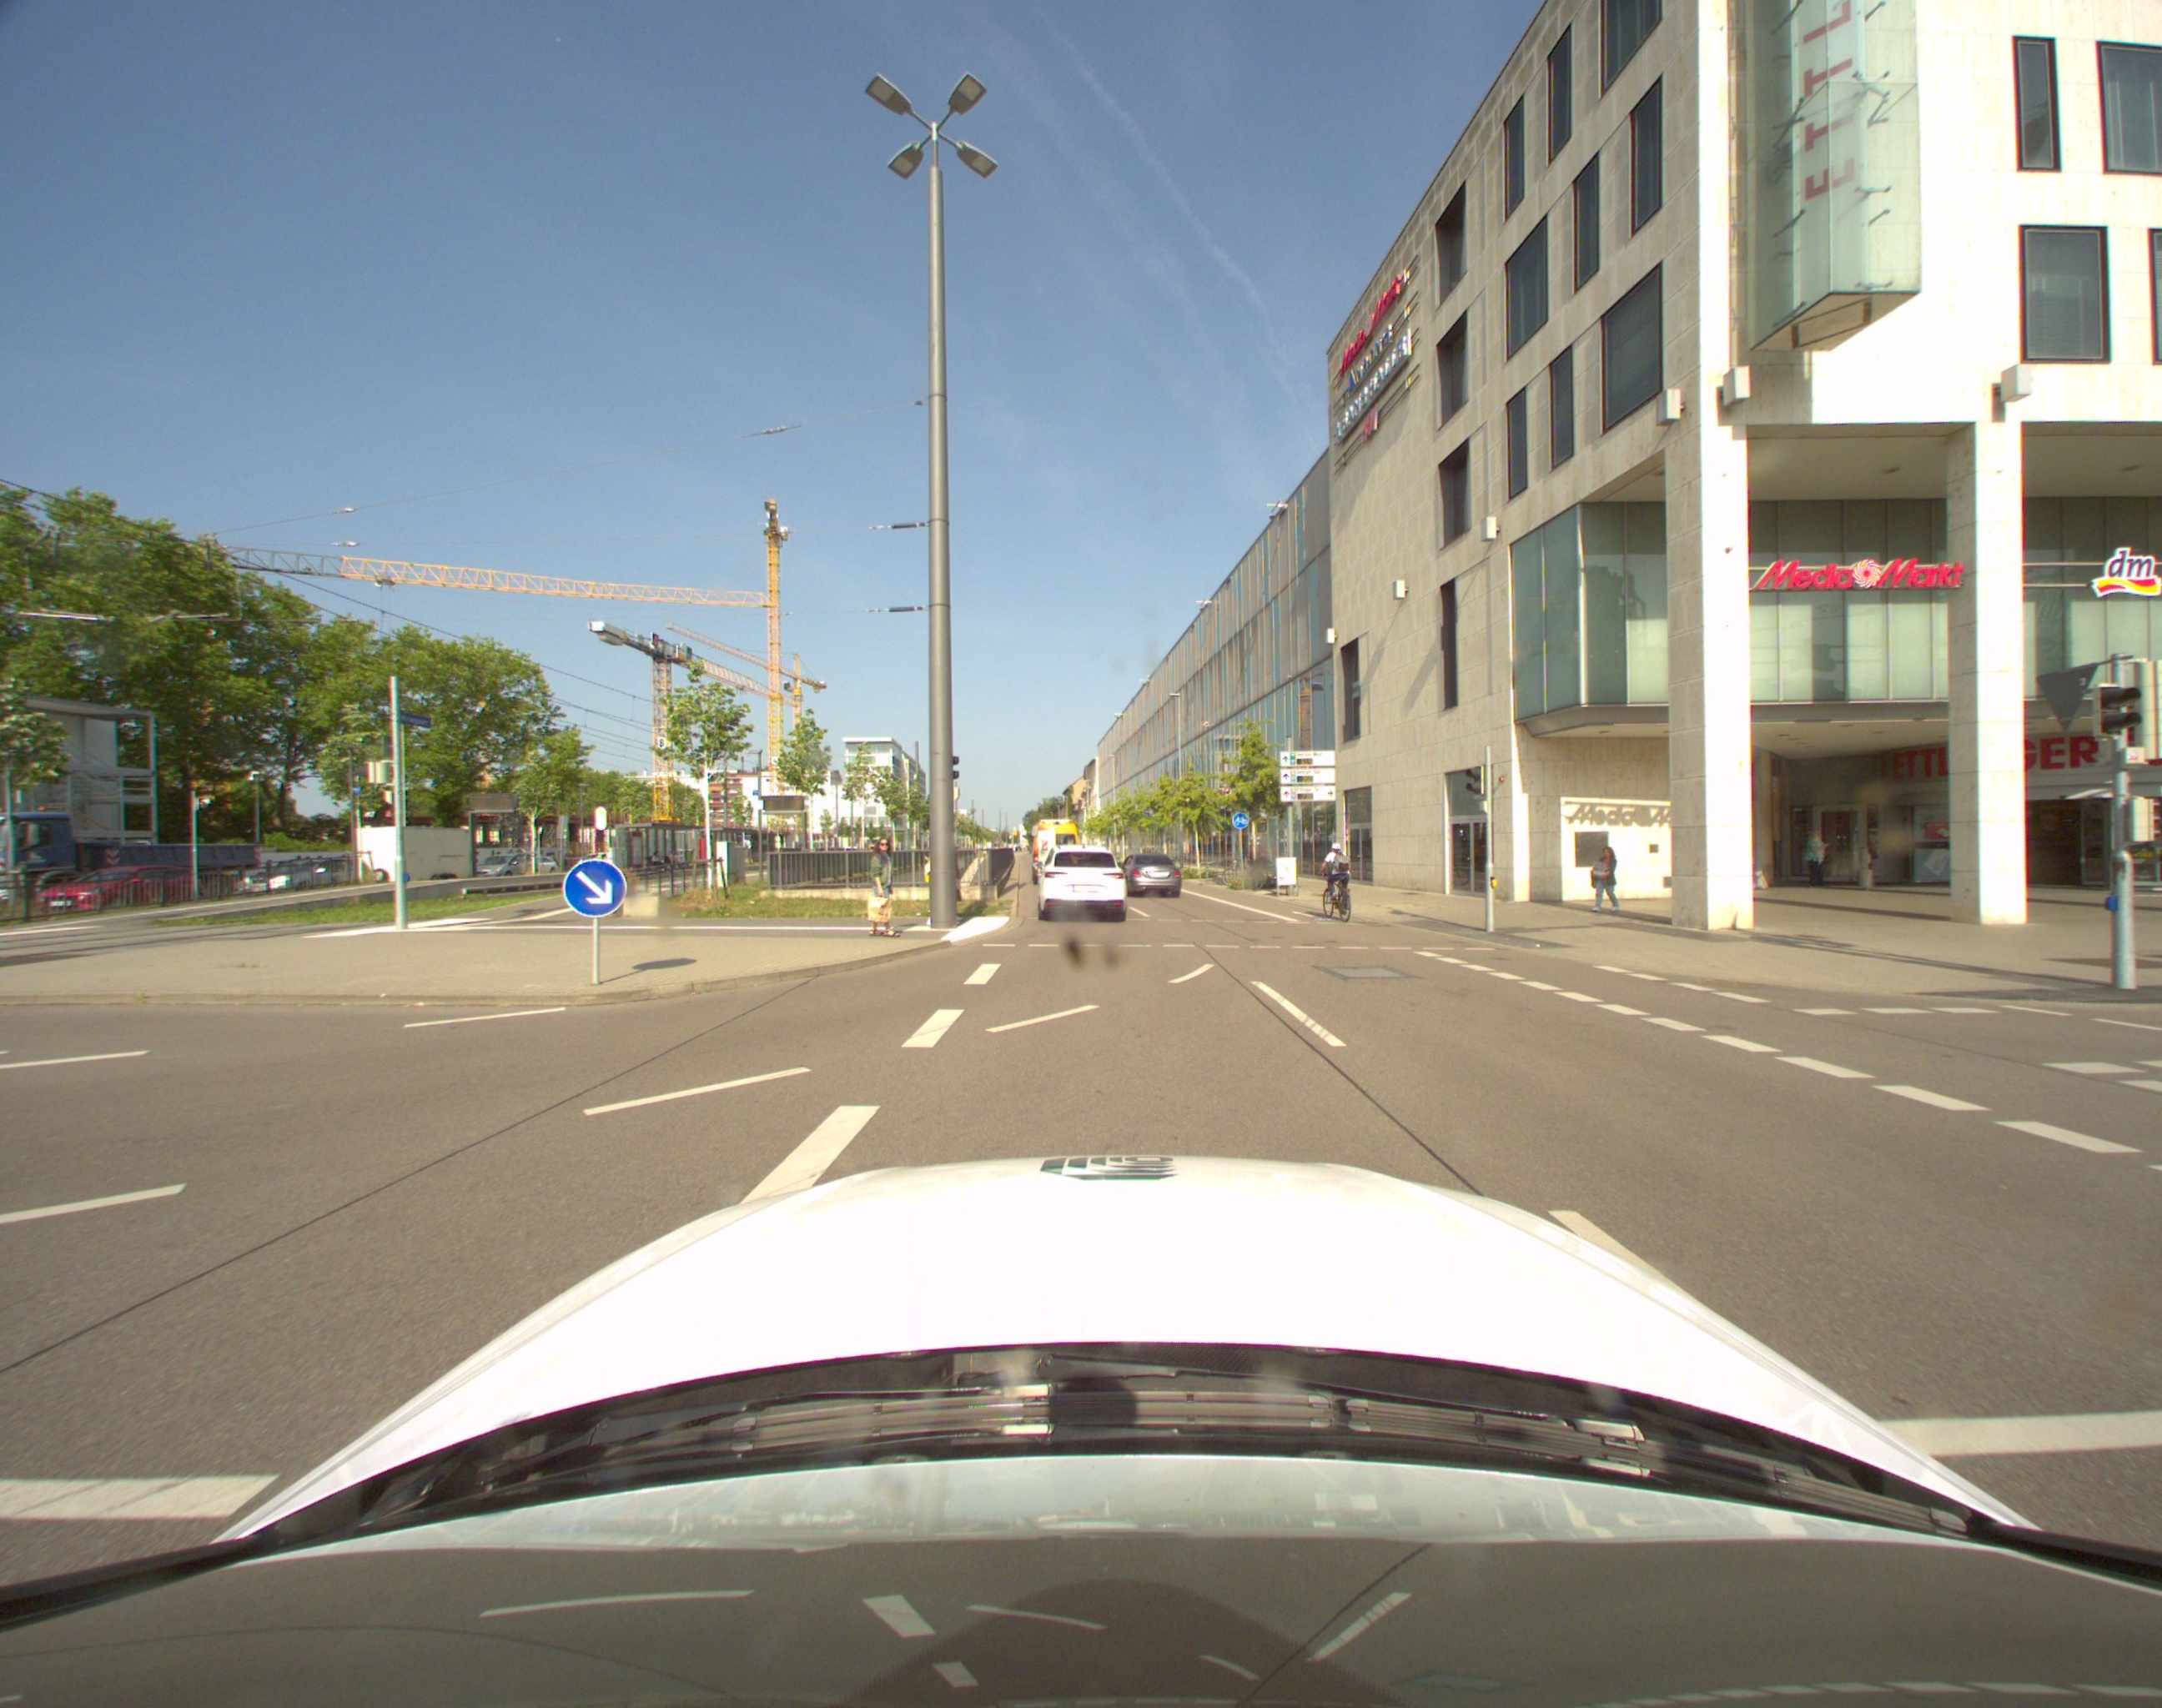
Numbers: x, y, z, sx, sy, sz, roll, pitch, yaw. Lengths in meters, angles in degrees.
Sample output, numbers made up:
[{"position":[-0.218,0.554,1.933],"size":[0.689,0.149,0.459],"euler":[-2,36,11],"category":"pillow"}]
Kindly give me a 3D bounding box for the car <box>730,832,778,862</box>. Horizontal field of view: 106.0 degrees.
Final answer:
[{"position":[-40.610,-0.873,101.478],"size":[3.049,3.512,9.218],"euler":[0,0,-5],"category":"car"}]

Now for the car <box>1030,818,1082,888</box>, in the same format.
[{"position":[-1.175,-0.087,35.678],"size":[2.016,2.795,5.393],"euler":[-1,1,-4],"category":"car"}]

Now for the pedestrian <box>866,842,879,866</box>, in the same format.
[{"position":[-14.409,0.004,56.214],"size":[0.734,1.619,0.709],"euler":[-1,0,-5],"category":"pedestrian"}]

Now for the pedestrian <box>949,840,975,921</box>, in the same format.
[{"position":[-2.446,0.531,16.840],"size":[0.466,1.649,0.776],"euler":[0,0,-4],"category":"pedestrian"}]

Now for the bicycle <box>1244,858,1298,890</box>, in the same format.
[{"position":[6.988,0.725,29.967],"size":[1.835,1.113,0.686],"euler":[1,0,-3],"category":"bicycle"}]

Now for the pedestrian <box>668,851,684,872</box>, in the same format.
[{"position":[-25.237,0.445,50.761],"size":[0.680,1.300,0.591],"euler":[-1,1,-8],"category":"pedestrian"}]

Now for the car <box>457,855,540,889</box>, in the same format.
[{"position":[-31.611,0.940,44.342],"size":[1.717,1.662,4.145],"euler":[0,1,-4],"category":"car"}]

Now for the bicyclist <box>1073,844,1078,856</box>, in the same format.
[{"position":[-0.691,-0.515,106.812],"size":[0.637,1.577,0.770],"euler":[-1,0,-2],"category":"bicyclist"}]

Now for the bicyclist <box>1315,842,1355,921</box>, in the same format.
[{"position":[5.821,0.612,18.670],"size":[0.649,1.748,0.769],"euler":[-1,0,-2],"category":"bicyclist"}]

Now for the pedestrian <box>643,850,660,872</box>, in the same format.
[{"position":[-25.153,0.400,47.712],"size":[0.680,1.300,0.591],"euler":[-1,1,-8],"category":"pedestrian"}]

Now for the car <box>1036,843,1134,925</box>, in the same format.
[{"position":[-0.029,0.564,18.096],"size":[1.866,1.574,3.994],"euler":[-1,1,-4],"category":"car"}]

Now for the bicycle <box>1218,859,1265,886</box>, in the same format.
[{"position":[6.722,0.763,34.132],"size":[1.874,1.109,0.490],"euler":[-1,0,-3],"category":"bicycle"}]

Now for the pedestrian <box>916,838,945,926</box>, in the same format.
[{"position":[-2.914,0.526,15.840],"size":[0.466,1.649,0.776],"euler":[0,0,-4],"category":"pedestrian"}]

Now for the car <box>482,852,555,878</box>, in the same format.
[{"position":[-36.261,0.656,52.655],"size":[1.789,1.581,4.609],"euler":[-1,0,-4],"category":"car"}]

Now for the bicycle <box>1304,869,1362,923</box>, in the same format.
[{"position":[5.831,0.954,18.984],"size":[0.659,1.117,2.050],"euler":[-1,1,-2],"category":"bicycle"}]

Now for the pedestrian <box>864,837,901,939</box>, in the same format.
[{"position":[-3.309,0.546,13.598],"size":[0.466,1.649,0.776],"euler":[0,0,-4],"category":"pedestrian"}]

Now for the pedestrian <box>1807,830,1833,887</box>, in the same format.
[{"position":[21.769,0.130,23.992],"size":[0.457,1.678,0.500],"euler":[-1,1,-39],"category":"pedestrian"}]

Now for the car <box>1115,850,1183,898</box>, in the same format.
[{"position":[2.215,0.619,27.489],"size":[1.756,1.436,4.111],"euler":[1,1,-3],"category":"car"}]

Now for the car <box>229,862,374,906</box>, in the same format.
[{"position":[-30.127,1.098,31.683],"size":[1.640,1.469,4.395],"euler":[-1,1,-5],"category":"car"}]

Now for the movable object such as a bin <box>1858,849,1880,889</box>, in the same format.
[{"position":[22.000,0.402,22.738],"size":[0.291,1.099,0.355],"euler":[-1,0,-2],"category":"movable object such as a bin"}]

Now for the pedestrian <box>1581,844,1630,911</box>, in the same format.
[{"position":[11.853,0.517,18.418],"size":[0.707,1.487,0.603],"euler":[-1,1,-9],"category":"pedestrian"}]

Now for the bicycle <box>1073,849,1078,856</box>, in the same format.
[{"position":[-0.705,-0.187,106.920],"size":[0.654,0.938,1.516],"euler":[-1,1,-2],"category":"bicycle"}]

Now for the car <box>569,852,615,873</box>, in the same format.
[{"position":[-37.552,0.627,62.576],"size":[1.593,1.463,3.429],"euler":[-1,0,-4],"category":"car"}]

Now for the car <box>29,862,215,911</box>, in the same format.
[{"position":[-29.895,0.962,25.575],"size":[1.720,1.361,3.688],"euler":[0,1,-8],"category":"car"}]

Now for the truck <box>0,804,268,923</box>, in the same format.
[{"position":[-34.397,0.256,28.899],"size":[3.019,3.586,8.867],"euler":[-1,1,-8],"category":"truck"}]

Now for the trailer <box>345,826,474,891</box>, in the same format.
[{"position":[-30.964,0.188,37.799],"size":[2.041,2.780,5.013],"euler":[1,0,-5],"category":"trailer"}]
